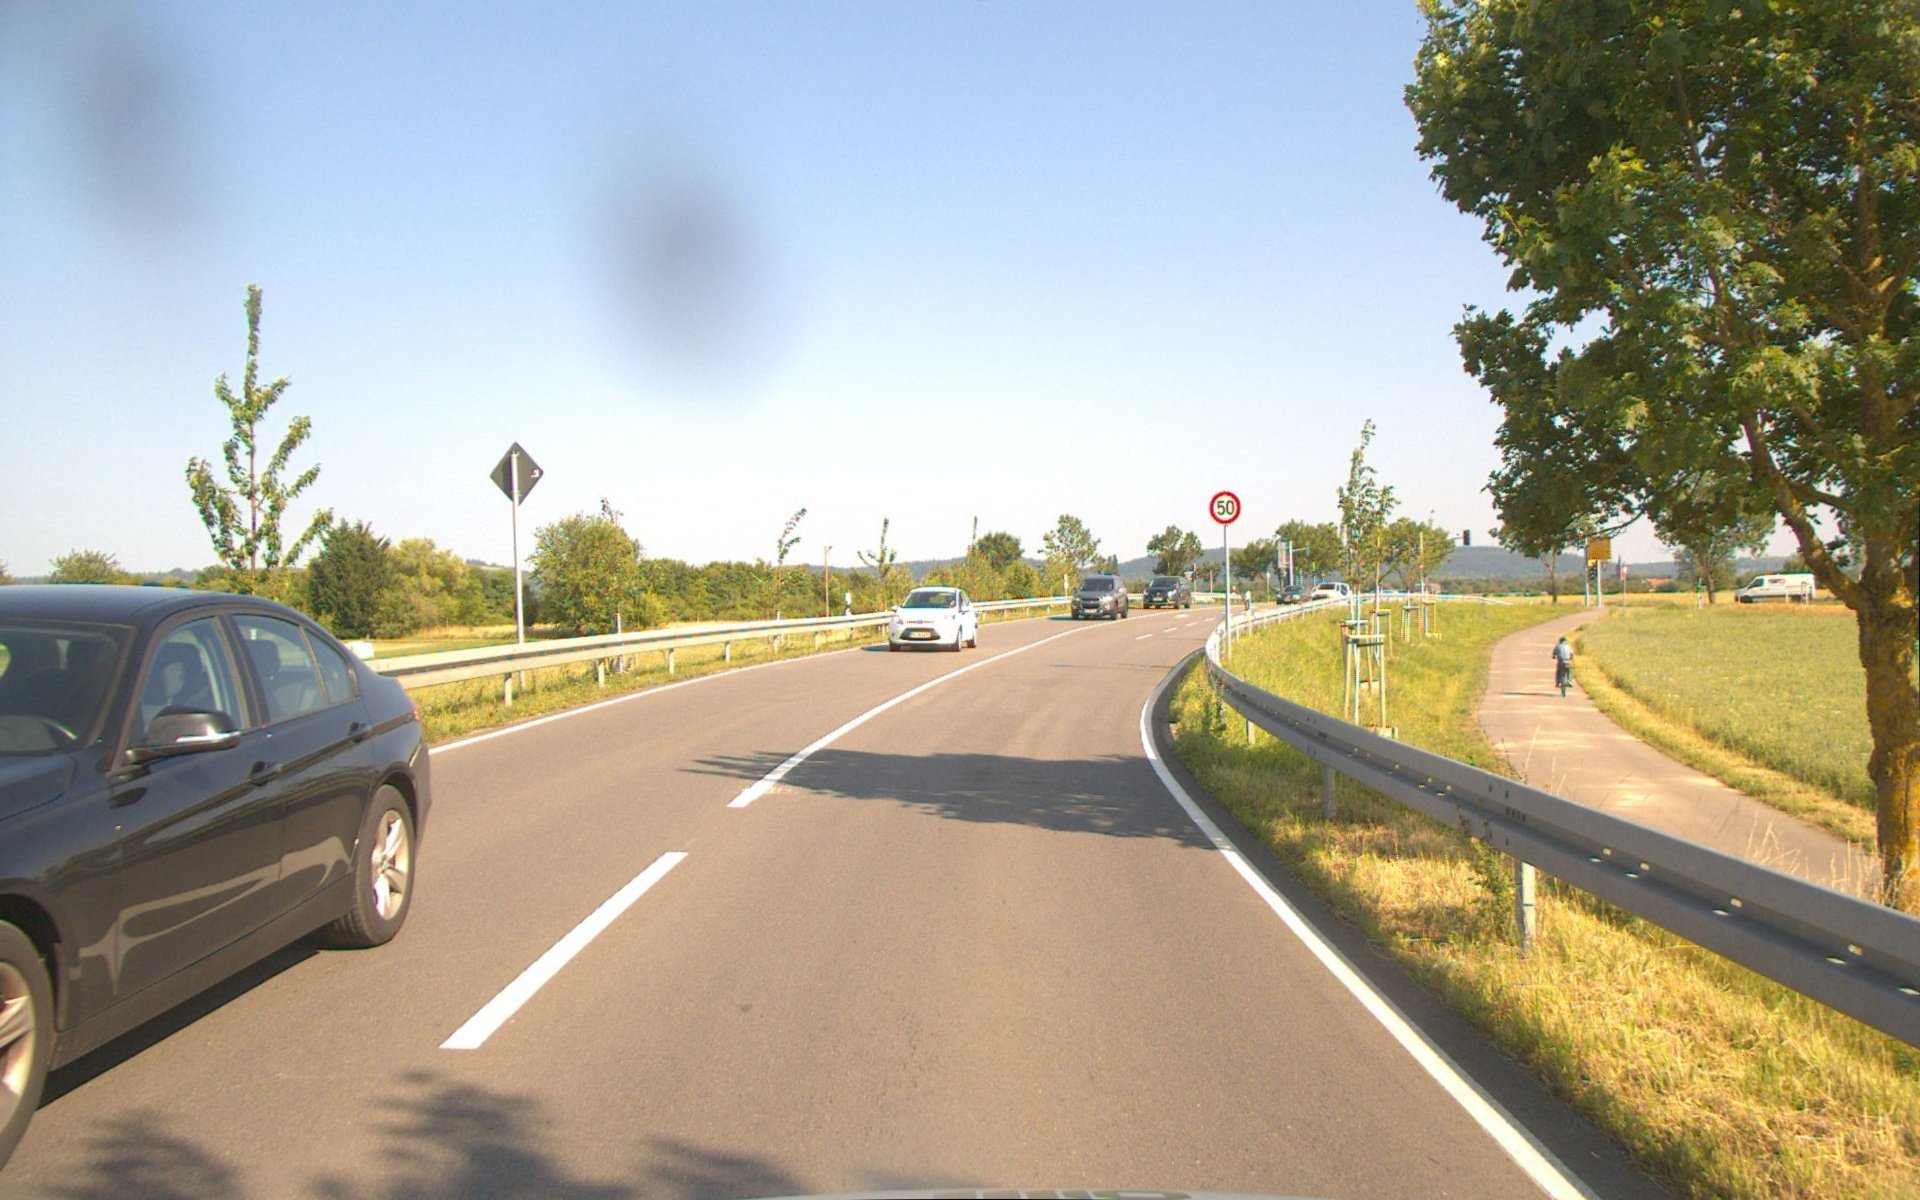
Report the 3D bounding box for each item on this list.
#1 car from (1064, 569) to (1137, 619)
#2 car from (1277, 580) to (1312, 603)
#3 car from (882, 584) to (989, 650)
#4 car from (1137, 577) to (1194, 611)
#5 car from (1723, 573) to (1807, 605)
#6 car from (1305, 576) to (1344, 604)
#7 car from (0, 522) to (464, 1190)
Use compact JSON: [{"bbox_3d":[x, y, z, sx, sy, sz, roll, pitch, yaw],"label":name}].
[{"bbox_3d":[5.713,-0.211,66.619,1.843,1.829,5.093,0,-2,18],"label":"car"},{"bbox_3d":[24.735,-0.620,122.154,1.758,1.473,4.707,1,3,21],"label":"car"},{"bbox_3d":[-0.525,0.395,39.618,1.813,1.474,4.157,1,0,9],"label":"car"},{"bbox_3d":[10.726,-0.343,86.164,1.952,1.620,4.865,1,2,19],"label":"car"},{"bbox_3d":[64.533,-0.902,132.614,5.854,2.536,1.993,0,-1,35],"label":"car"},{"bbox_3d":[29.624,-0.815,134.309,2.072,2.048,5.153,1,3,24],"label":"car"},{"bbox_3d":[-3.157,0.625,5.377,1.800,1.571,4.244,1,-1,0],"label":"car"}]
